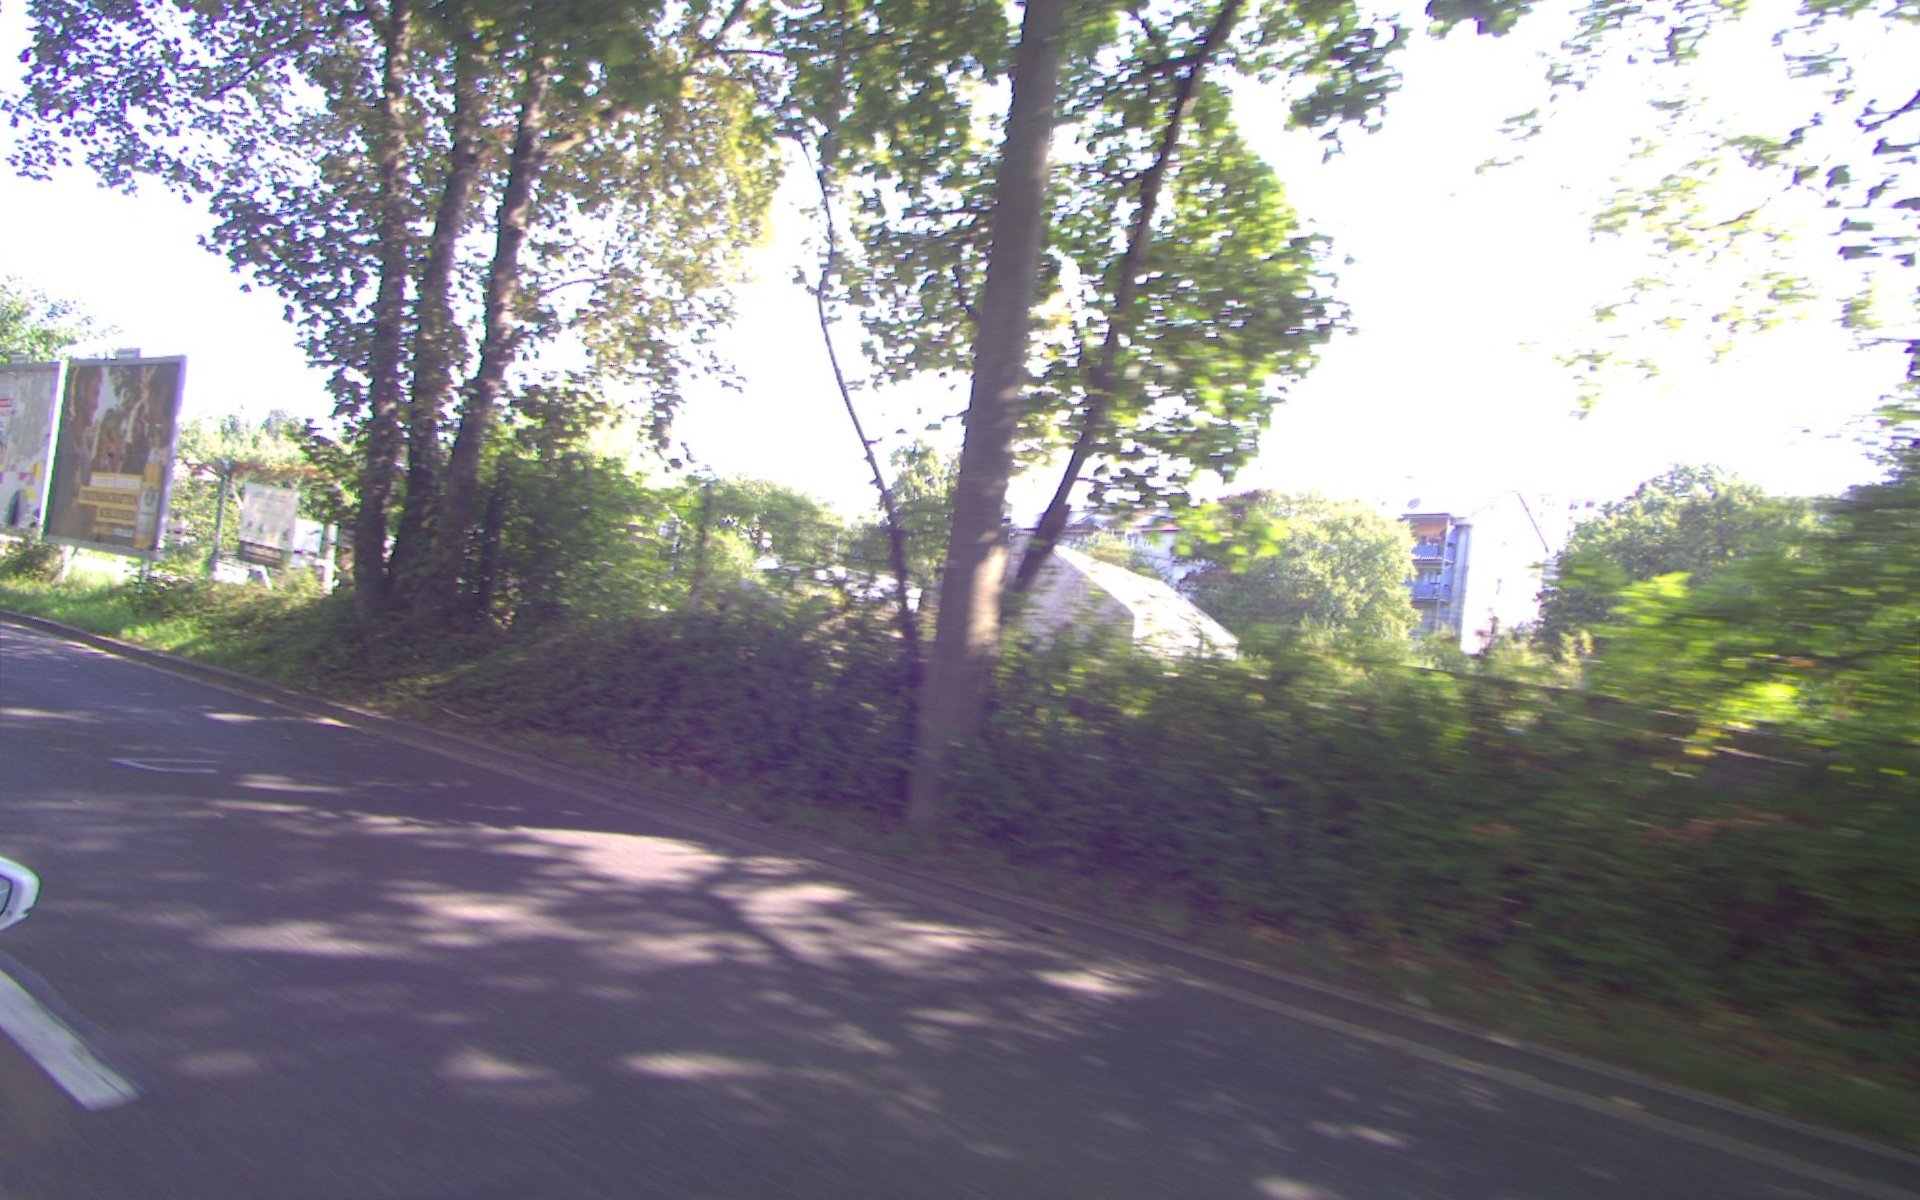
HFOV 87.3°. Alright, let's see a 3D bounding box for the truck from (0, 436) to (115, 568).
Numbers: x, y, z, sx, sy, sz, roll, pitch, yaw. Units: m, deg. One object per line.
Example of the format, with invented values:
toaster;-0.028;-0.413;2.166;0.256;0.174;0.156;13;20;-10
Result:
truck;-20.684;-2.185;21.354;6.797;2.258;1.919;6;-2;31
